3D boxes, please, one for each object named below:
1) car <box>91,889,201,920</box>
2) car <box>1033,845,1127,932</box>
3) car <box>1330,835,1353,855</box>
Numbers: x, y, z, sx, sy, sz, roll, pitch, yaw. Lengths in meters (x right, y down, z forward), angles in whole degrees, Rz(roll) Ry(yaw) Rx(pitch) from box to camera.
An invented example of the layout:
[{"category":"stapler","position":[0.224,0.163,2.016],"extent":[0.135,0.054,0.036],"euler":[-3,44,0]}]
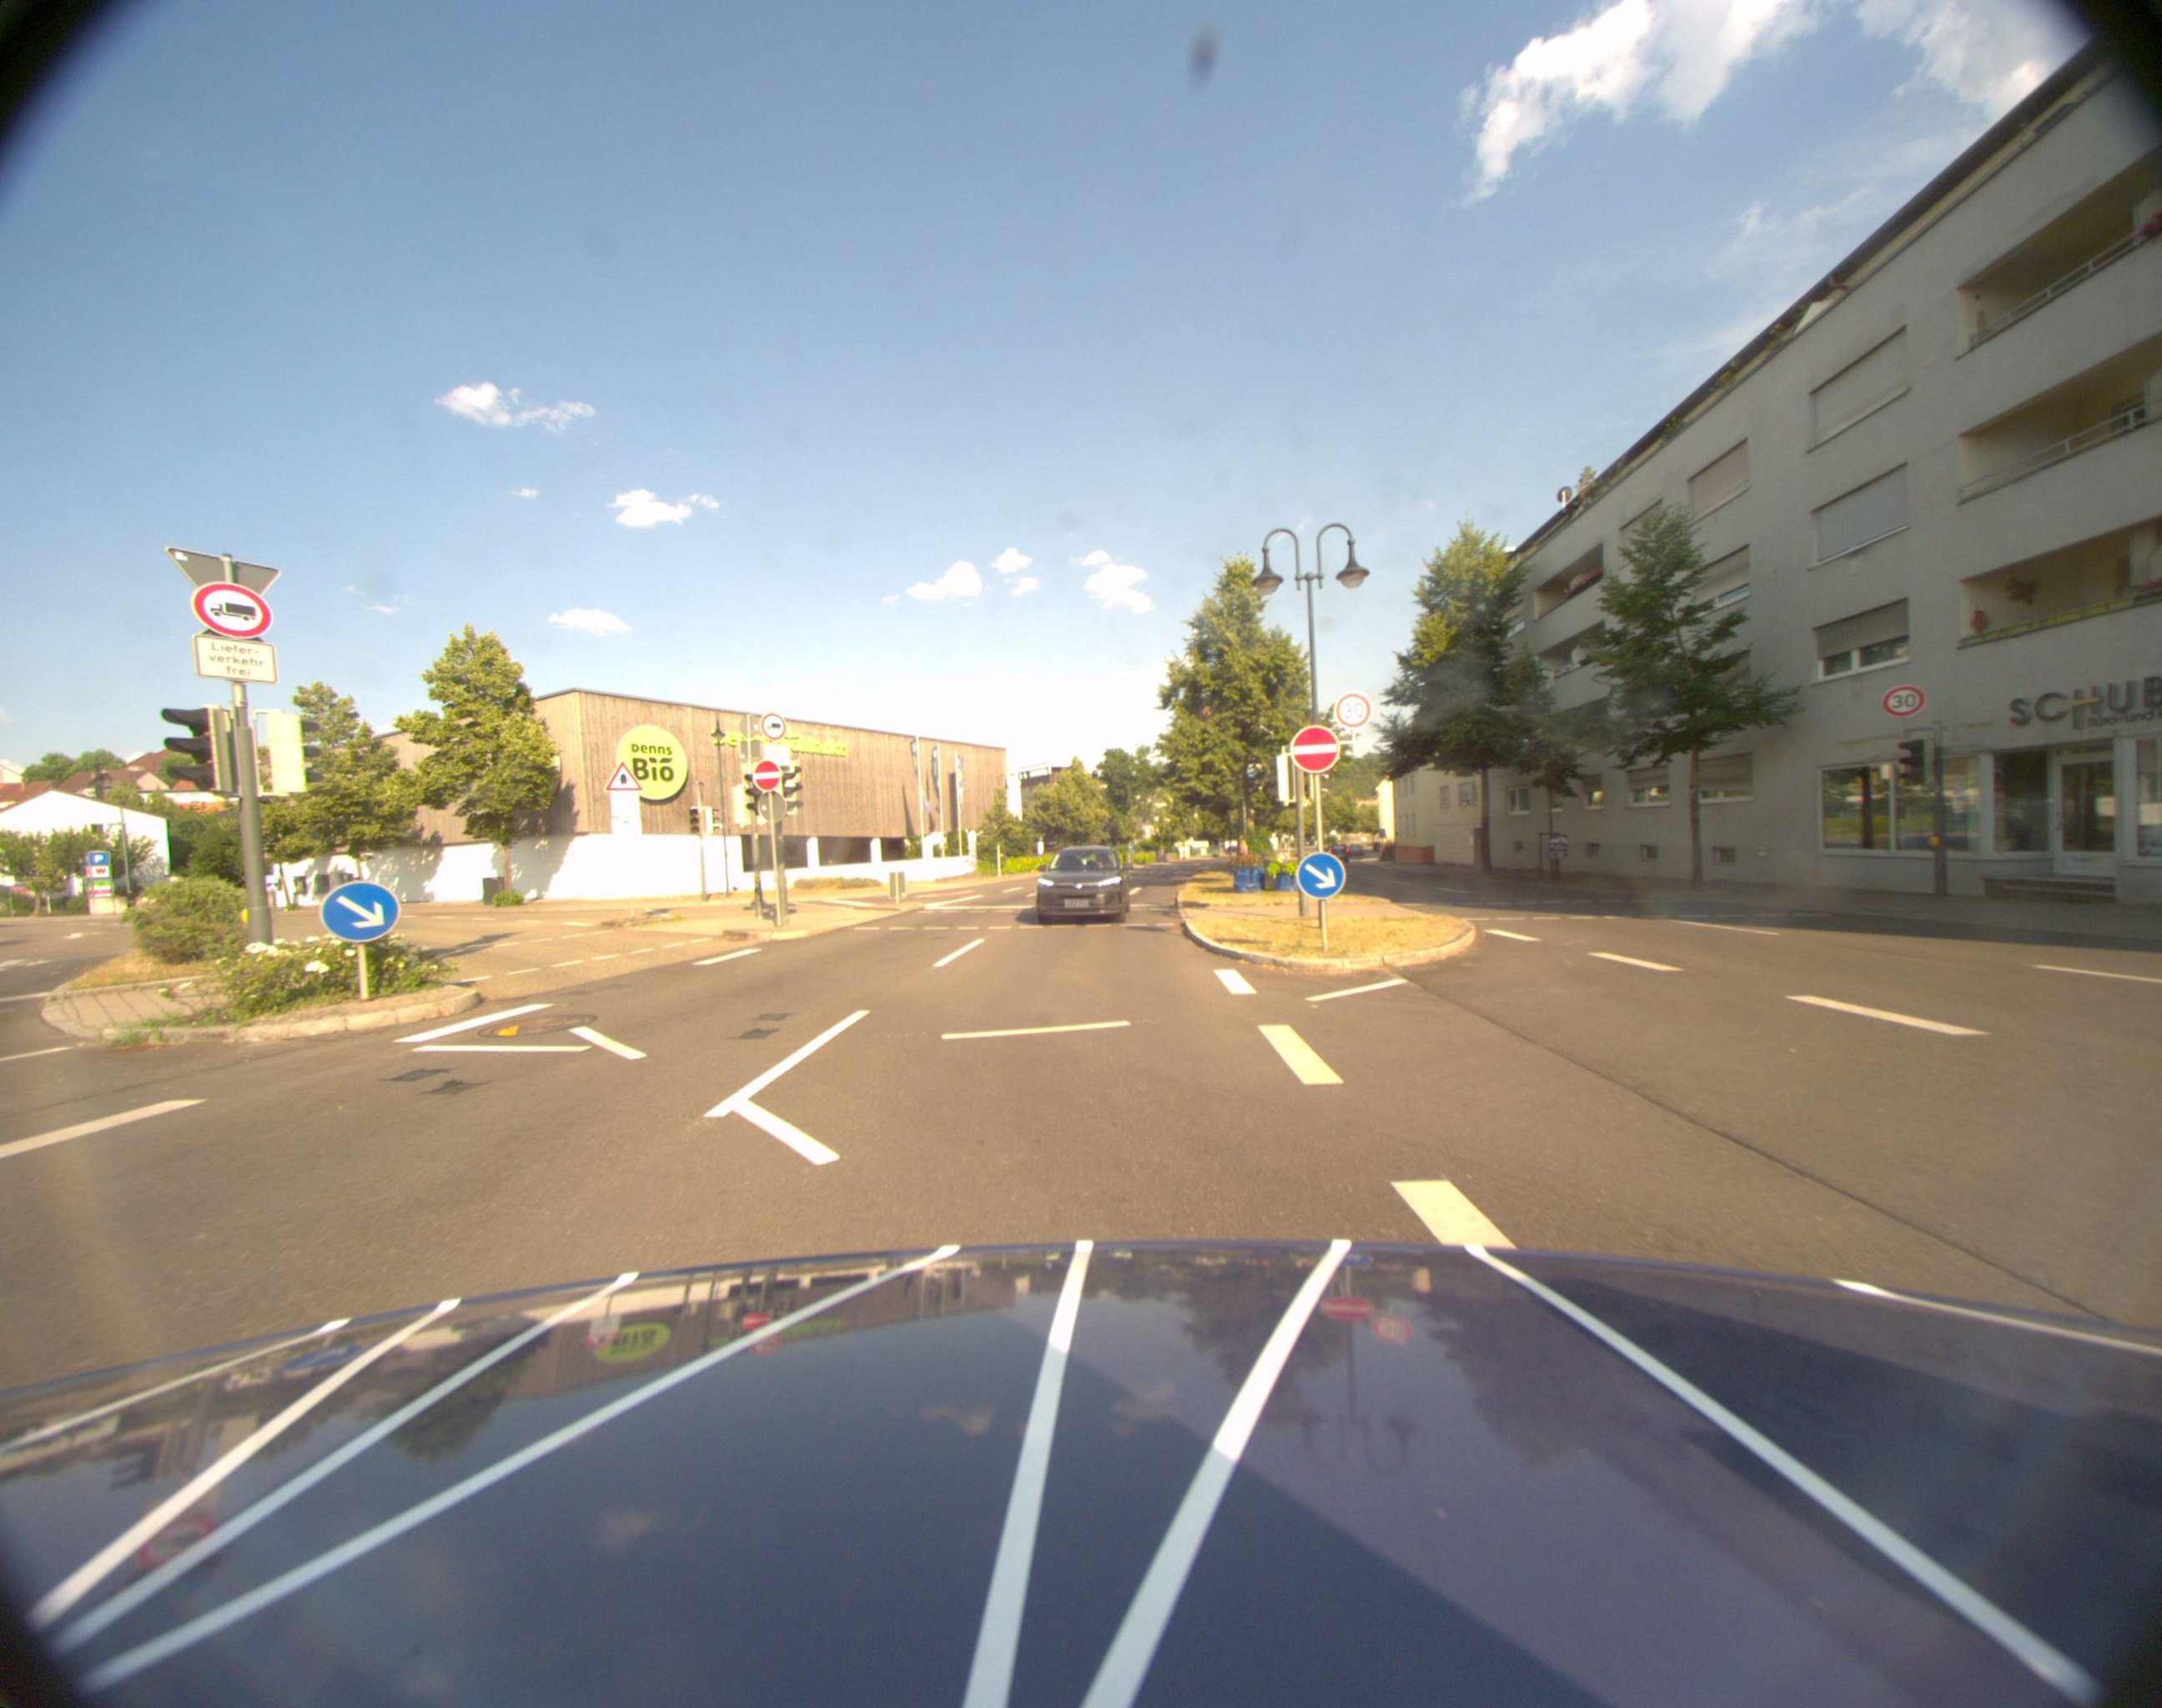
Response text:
[{"category":"car","position":[-62.545,3.310,50.908],"extent":[1.890,1.713,4.323],"euler":[-1,1,28]},{"category":"car","position":[0.113,0.645,16.874],"extent":[1.725,1.605,4.261],"euler":[-1,2,4]},{"category":"car","position":[24.704,-0.876,72.053],"extent":[1.854,1.727,4.929],"euler":[-1,1,21]}]
